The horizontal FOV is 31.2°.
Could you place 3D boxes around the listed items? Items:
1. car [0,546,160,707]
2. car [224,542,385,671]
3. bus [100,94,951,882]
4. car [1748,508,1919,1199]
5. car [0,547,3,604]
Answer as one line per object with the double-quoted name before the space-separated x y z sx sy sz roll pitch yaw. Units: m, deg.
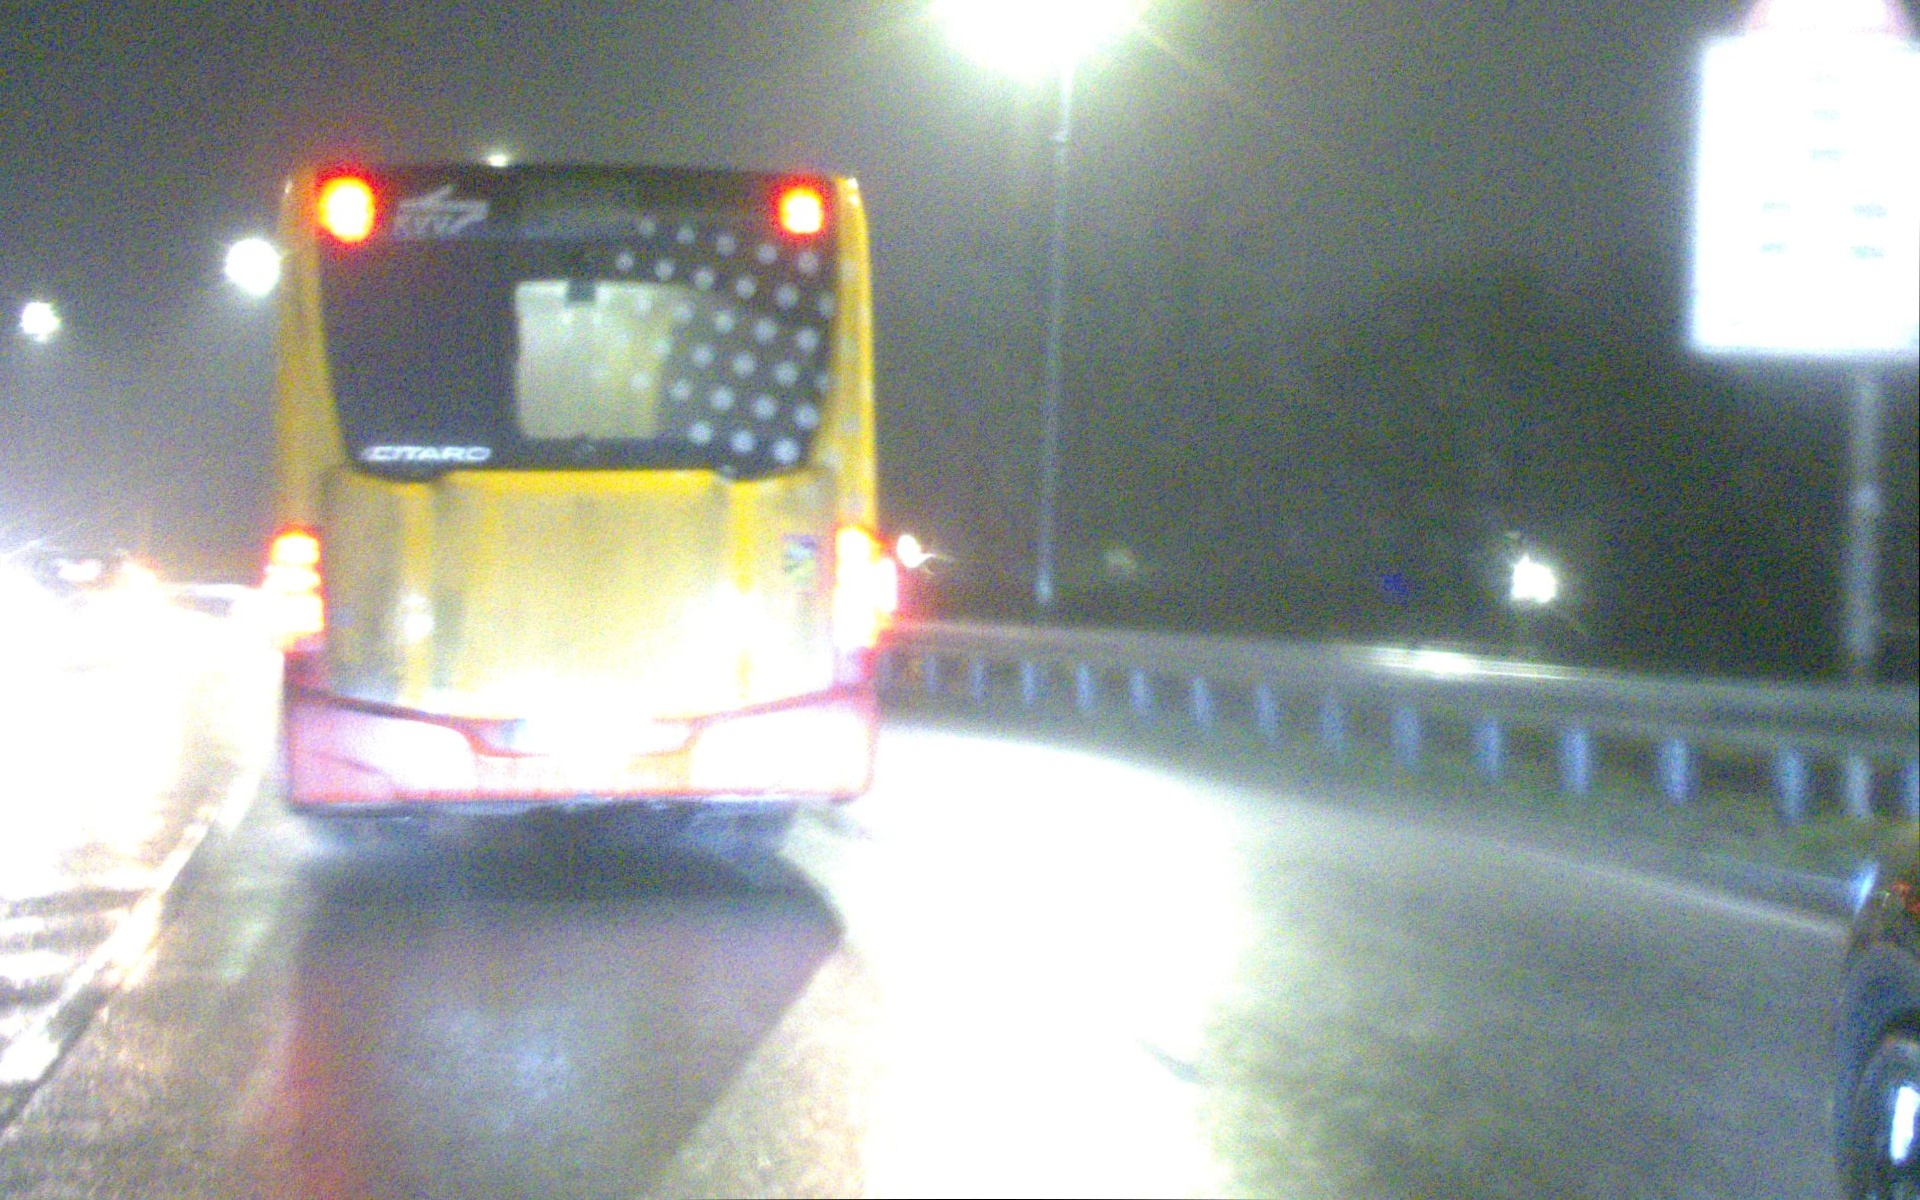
"car" -11.945 0.347 46.733 1.993 2.007 4.350 3 -1 -13
"car" -11.062 0.110 57.810 1.993 2.007 4.350 3 -1 -19
"bus" -2.218 -0.710 18.387 3.284 3.039 9.547 1 3 -6
"car" 2.531 0.630 4.681 1.677 1.516 3.961 3 -1 -5
"car" -28.671 -0.753 97.978 1.815 1.612 4.001 3 -1 -28
